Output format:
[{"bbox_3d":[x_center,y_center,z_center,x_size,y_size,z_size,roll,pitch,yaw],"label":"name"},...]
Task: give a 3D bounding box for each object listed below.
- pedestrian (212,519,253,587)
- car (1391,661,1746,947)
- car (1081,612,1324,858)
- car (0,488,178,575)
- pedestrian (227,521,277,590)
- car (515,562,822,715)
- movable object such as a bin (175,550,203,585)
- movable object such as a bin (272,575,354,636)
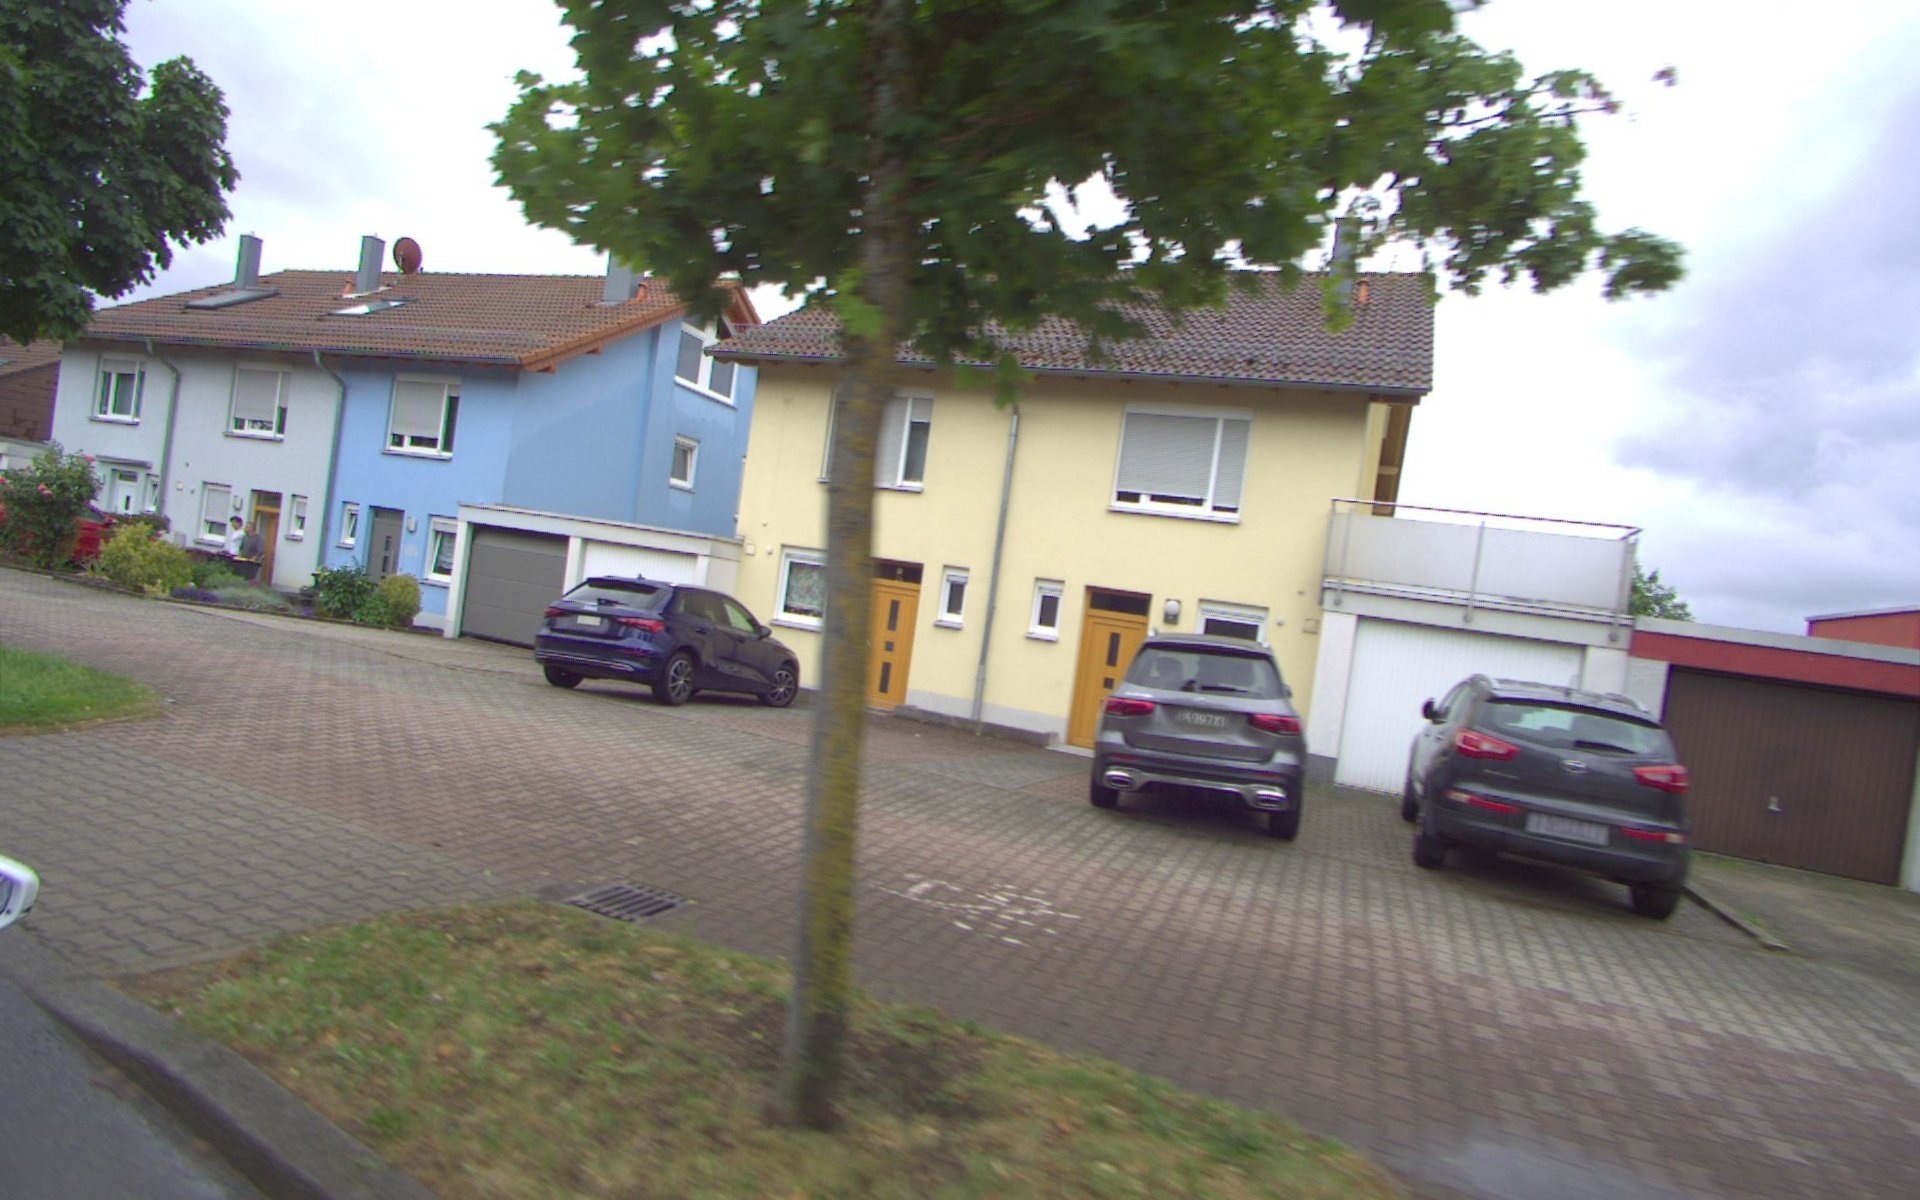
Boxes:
[{"bbox_3d":[-15.565,-1.001,21.511,0.557,1.367,0.495,7,0,44],"label":"pedestrian"},{"bbox_3d":[5.151,1.554,9.199,1.955,1.691,4.193,7,-1,22],"label":"car"},{"bbox_3d":[2.413,1.235,10.064,1.689,1.689,4.201,8,-3,14],"label":"car"},{"bbox_3d":[-17.758,-1.412,19.217,1.647,1.275,4.323,8,-2,12],"label":"car"},{"bbox_3d":[-15.017,-0.938,21.350,0.519,1.367,0.537,7,0,8],"label":"pedestrian"},{"bbox_3d":[-3.504,0.612,12.953,1.643,1.401,4.009,7,-5,19],"label":"car"},{"bbox_3d":[-15.064,-0.629,19.656,0.319,0.634,0.256,8,1,22],"label":"movable object such as a bin"},{"bbox_3d":[-11.961,0.105,18.619,0.802,0.975,0.896,8,0,22],"label":"movable object such as a bin"}]
